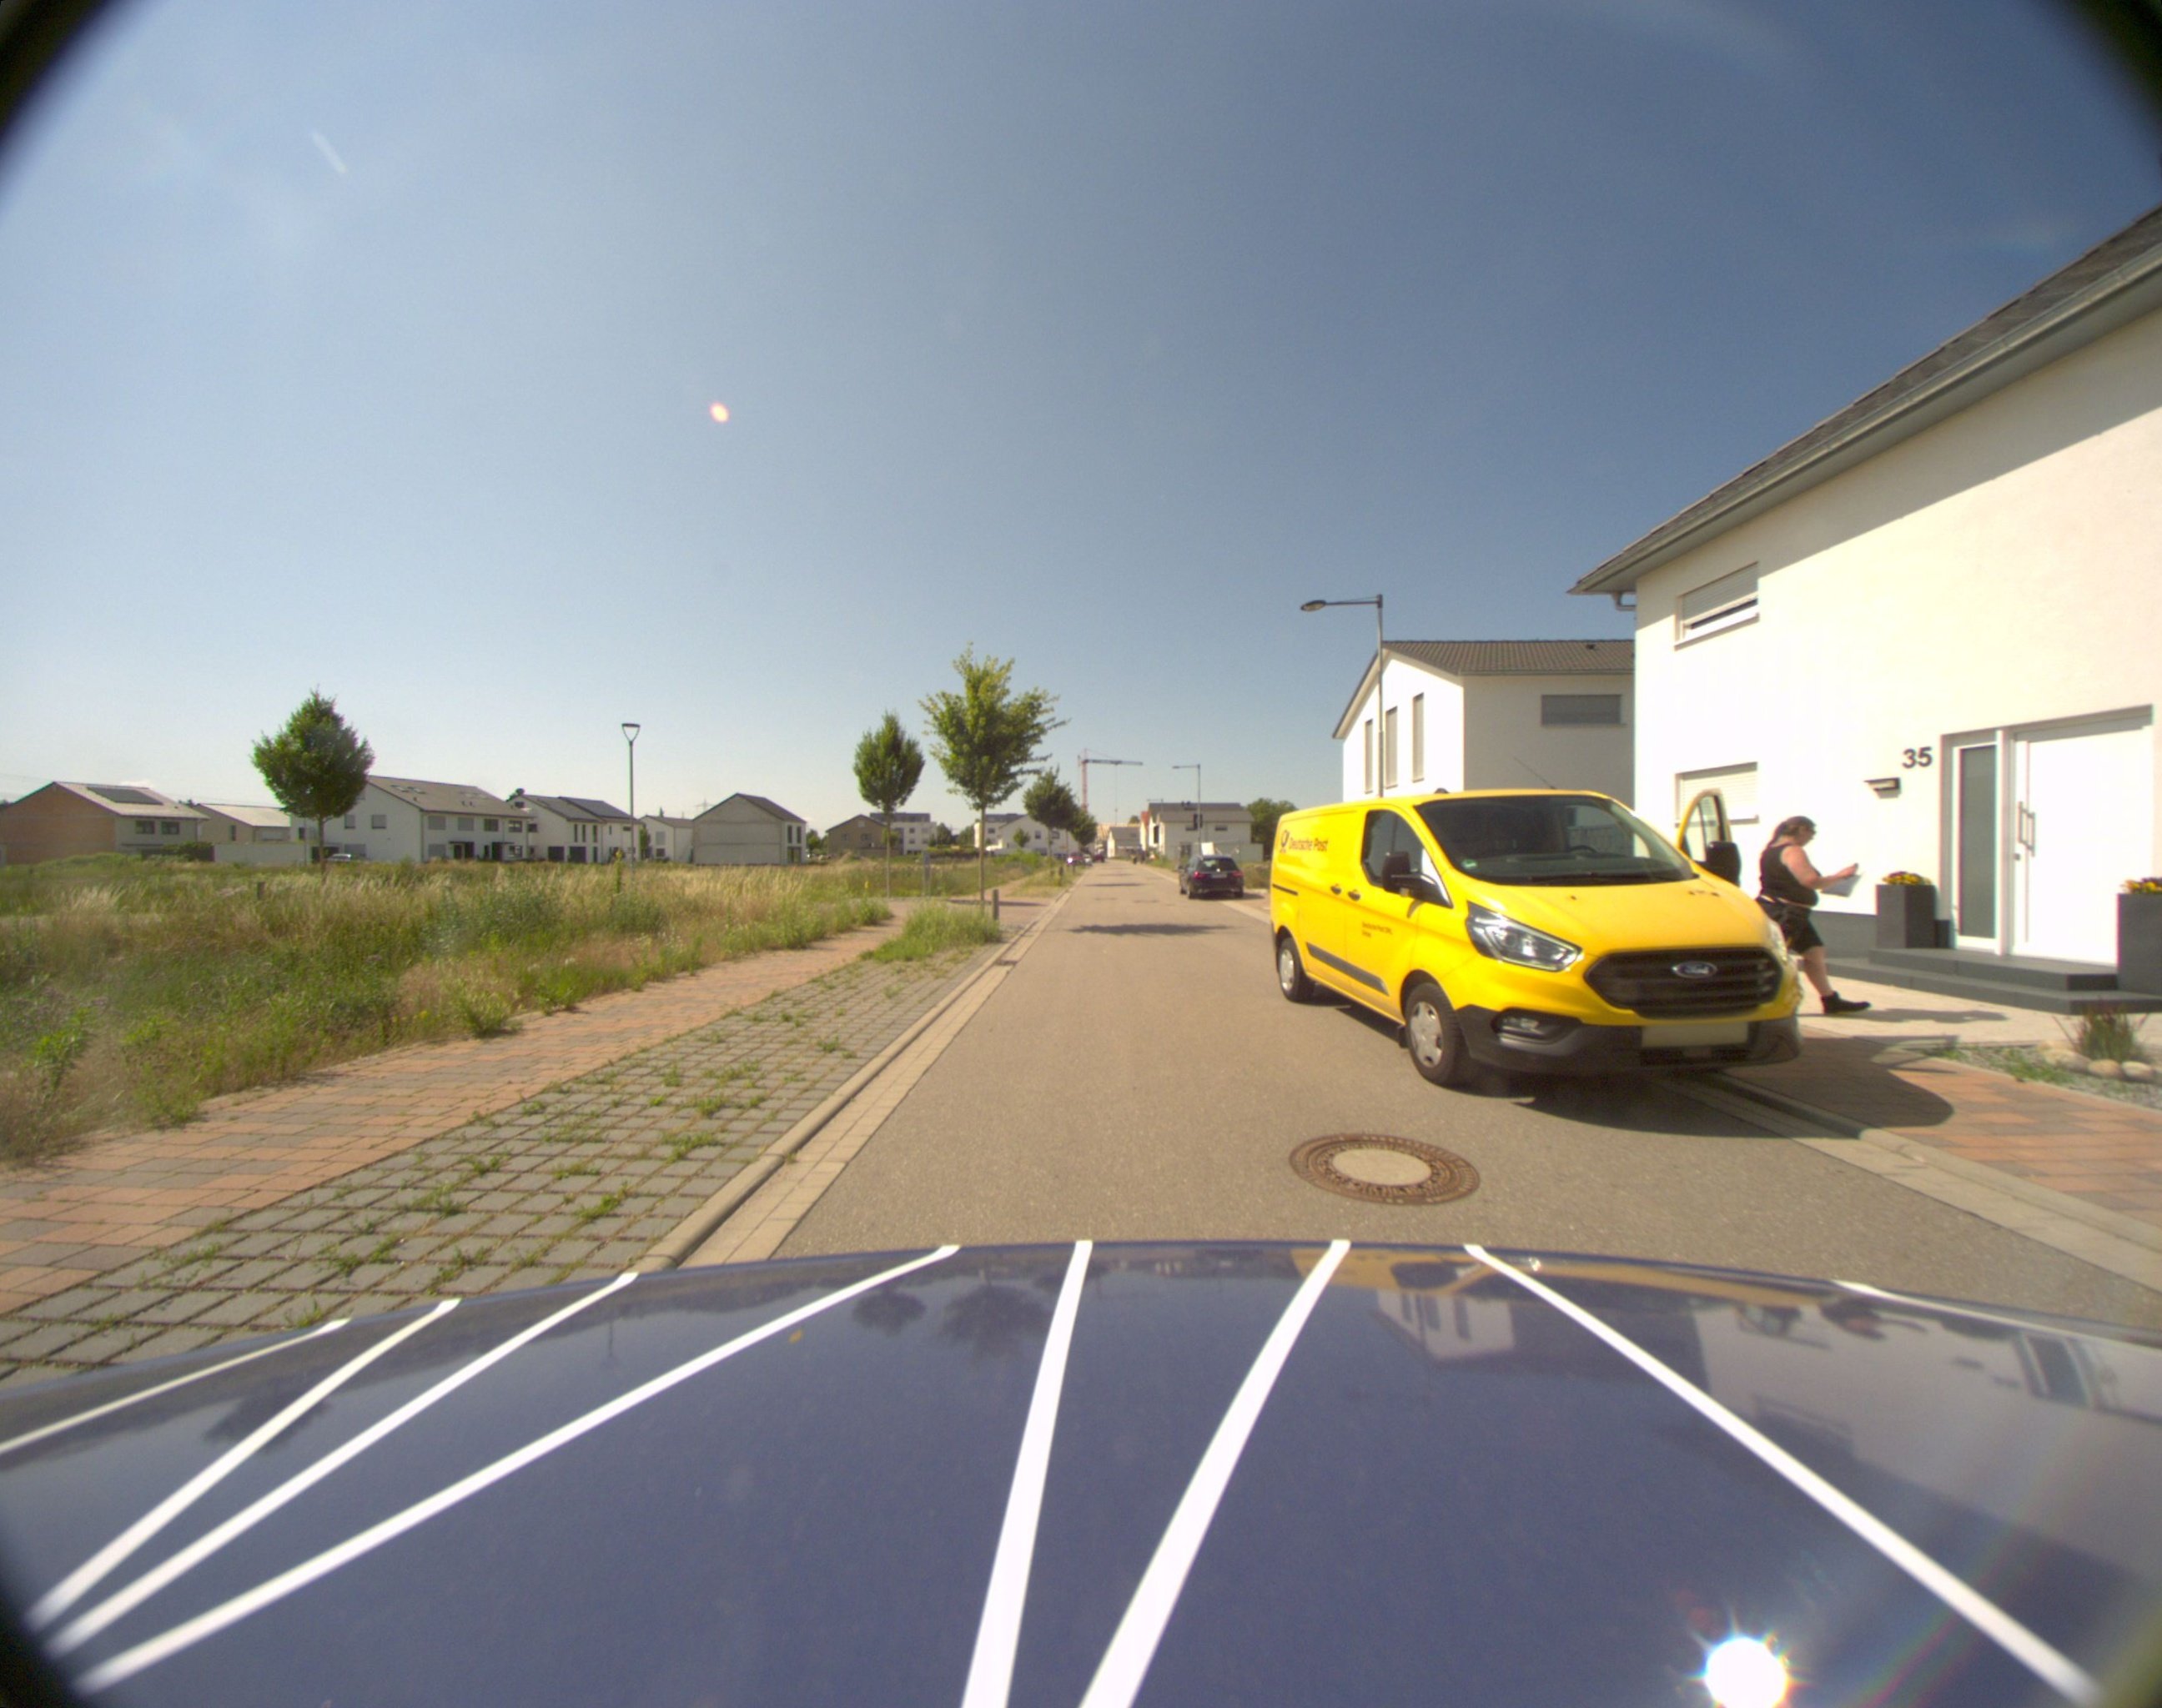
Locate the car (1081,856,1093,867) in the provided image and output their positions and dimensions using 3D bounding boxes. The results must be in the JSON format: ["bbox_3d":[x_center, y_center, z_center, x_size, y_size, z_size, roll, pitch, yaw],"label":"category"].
[{"bbox_3d":[0.825,0.951,97.556,1.493,1.389,3.272,-1,0,2],"label":"car"}]

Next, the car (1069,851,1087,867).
[{"bbox_3d":[-0.294,0.492,77.915,1.768,1.483,4.000,-1,0,2],"label":"car"}]

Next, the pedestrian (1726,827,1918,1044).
[{"bbox_3d":[5.985,0.646,6.182,0.931,1.675,0.537,-3,1,11],"label":"pedestrian"}]

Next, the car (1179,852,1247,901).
[{"bbox_3d":[4.433,0.709,26.101,1.694,1.464,4.445,-2,0,2],"label":"car"}]

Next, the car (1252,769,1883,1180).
[{"bbox_3d":[3.006,0.585,6.221,1.889,2.002,4.839,-2,0,-2],"label":"car"}]
